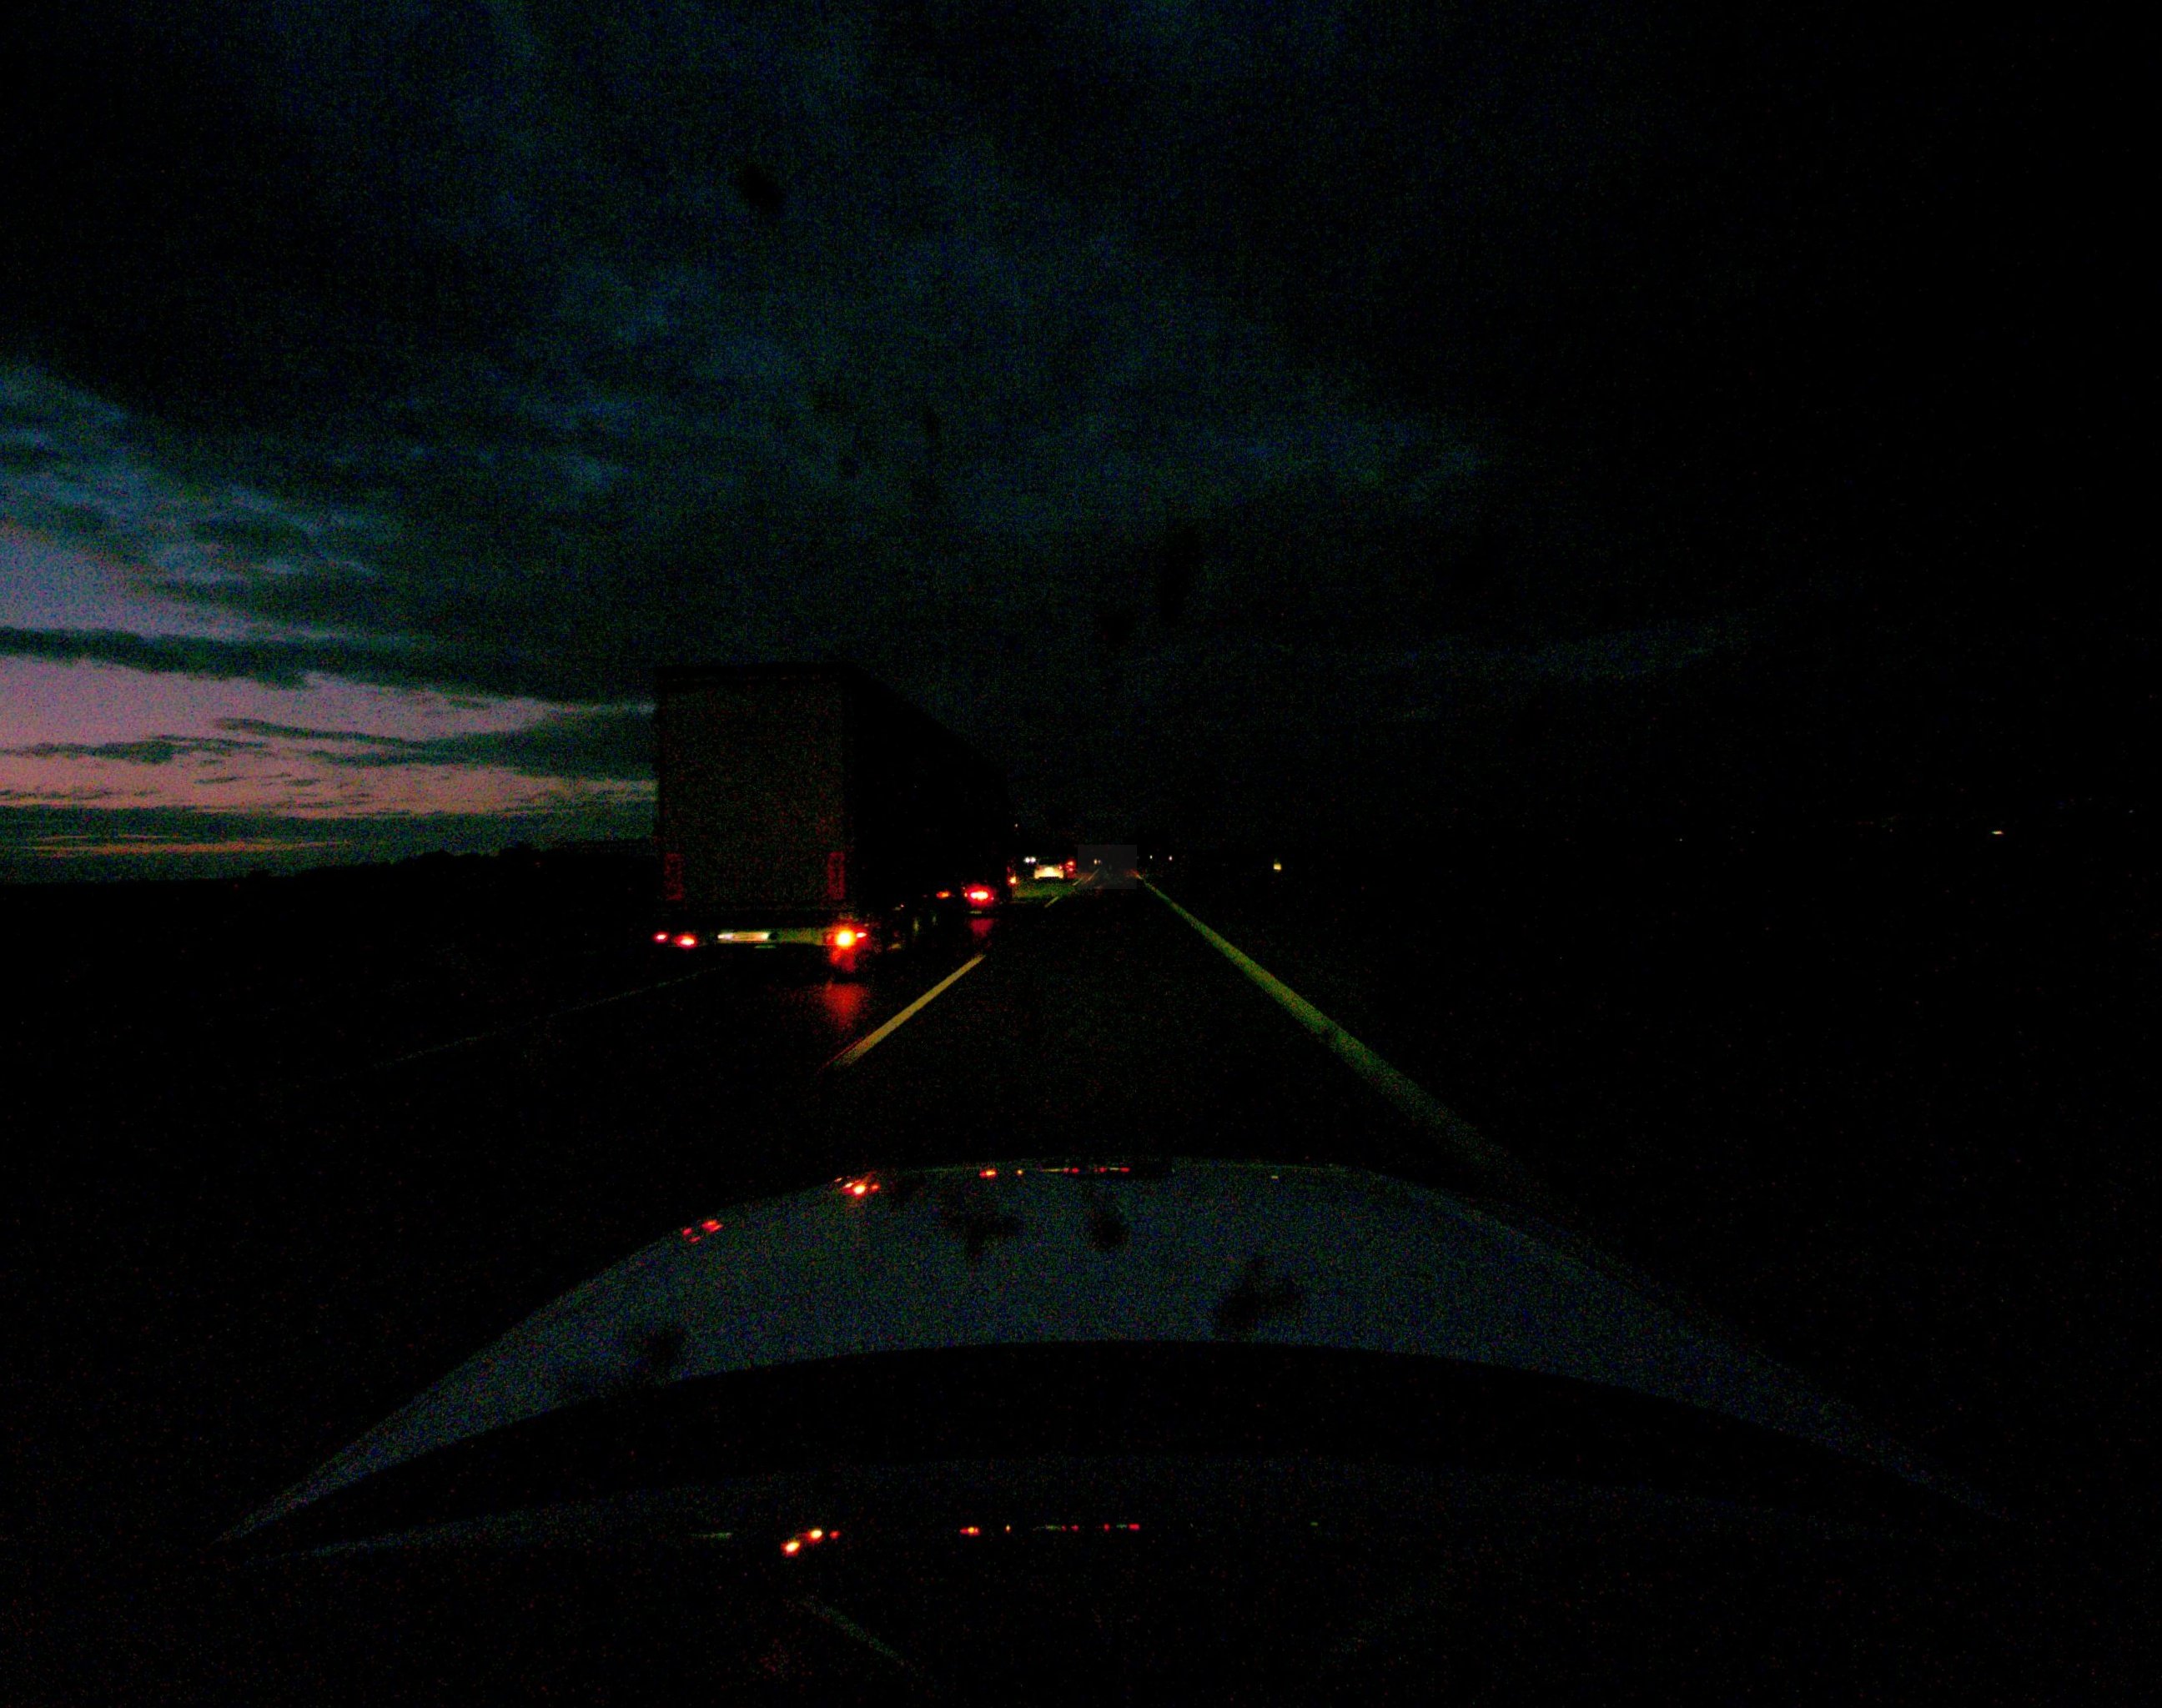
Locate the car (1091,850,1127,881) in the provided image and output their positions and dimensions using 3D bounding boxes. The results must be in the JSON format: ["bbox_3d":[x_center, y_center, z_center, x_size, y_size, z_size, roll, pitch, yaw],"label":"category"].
[{"bbox_3d":[1.566,0.622,45.222,1.873,1.643,4.002,-1,-1,2],"label":"car"}]

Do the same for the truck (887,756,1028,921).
[{"bbox_3d":[-3.332,-0.374,23.671,2.766,4.093,6.107,-2,-1,3],"label":"truck"}]

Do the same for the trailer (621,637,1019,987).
[{"bbox_3d":[-3.693,-0.438,16.964,2.782,4.085,14.536,-2,-1,3],"label":"trailer"}]

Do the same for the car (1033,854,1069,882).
[{"bbox_3d":[-1.713,0.812,48.237,1.737,1.525,4.417,-1,-1,3],"label":"car"}]

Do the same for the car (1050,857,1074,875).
[{"bbox_3d":[-1.592,1.006,69.446,1.716,1.471,4.728,-1,-1,2],"label":"car"}]

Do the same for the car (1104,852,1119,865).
[{"bbox_3d":[3.860,0.594,104.543,1.873,1.552,4.001,-1,-1,1],"label":"car"}]

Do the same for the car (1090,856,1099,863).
[{"bbox_3d":[2.959,1.242,179.525,1.873,1.552,4.001,-1,-1,1],"label":"car"}]
